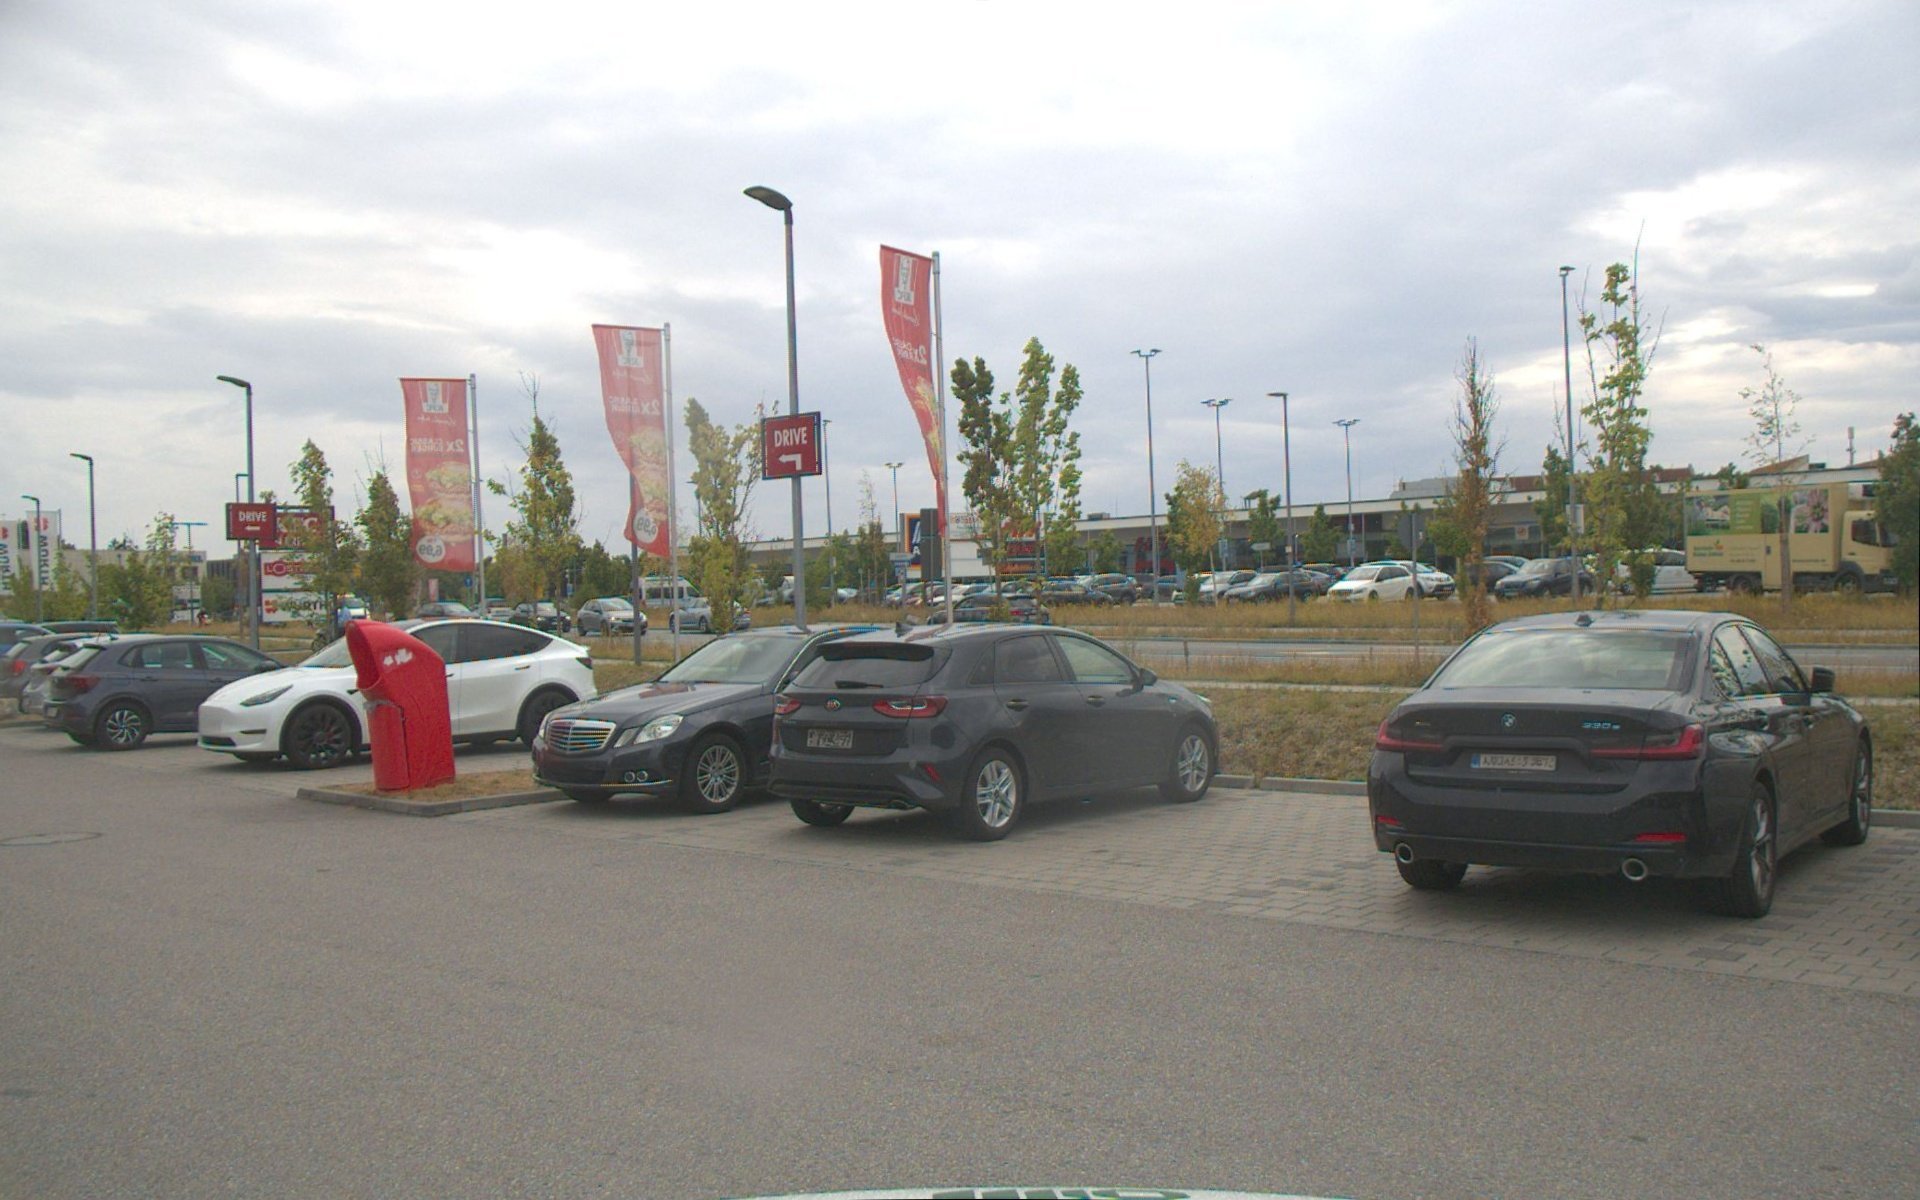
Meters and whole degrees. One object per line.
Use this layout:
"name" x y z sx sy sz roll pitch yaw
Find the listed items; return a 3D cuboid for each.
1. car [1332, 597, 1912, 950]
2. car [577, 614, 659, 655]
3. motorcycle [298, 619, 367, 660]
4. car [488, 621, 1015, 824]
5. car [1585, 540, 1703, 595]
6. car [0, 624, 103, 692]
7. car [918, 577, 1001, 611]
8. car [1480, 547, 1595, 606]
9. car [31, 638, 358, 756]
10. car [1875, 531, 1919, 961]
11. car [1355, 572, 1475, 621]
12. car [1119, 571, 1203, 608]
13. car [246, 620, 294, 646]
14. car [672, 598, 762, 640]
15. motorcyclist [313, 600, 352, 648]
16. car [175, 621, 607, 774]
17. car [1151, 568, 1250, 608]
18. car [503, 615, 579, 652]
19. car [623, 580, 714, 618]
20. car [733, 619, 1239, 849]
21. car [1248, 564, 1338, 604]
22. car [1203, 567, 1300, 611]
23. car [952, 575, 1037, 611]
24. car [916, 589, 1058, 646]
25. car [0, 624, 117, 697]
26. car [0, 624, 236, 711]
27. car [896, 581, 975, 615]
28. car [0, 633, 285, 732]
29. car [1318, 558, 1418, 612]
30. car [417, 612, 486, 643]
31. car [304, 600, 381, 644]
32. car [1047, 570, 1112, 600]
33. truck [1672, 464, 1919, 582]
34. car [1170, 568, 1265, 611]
"car" 3.959 0.756 9.376 1.909 1.492 4.496 -1 -1 37
"car" -13.705 1.367 66.123 1.809 1.485 3.952 -4 2 -34
"motorcycle" -20.393 1.278 53.751 1.903 1.229 0.783 -3 0 -40
"car" -1.668 0.950 14.785 1.875 1.482 4.719 -1 -1 39
"car" 25.388 -1.213 61.385 3.907 1.802 1.999 -3 1 25
"car" -23.310 1.456 40.425 4.026 1.485 1.755 -3 2 -34
"car" -0.010 -0.311 85.982 4.038 1.527 1.837 -4 2 -41
"car" 20.044 -0.827 57.322 4.285 1.802 1.902 -4 2 -42
"car" -10.490 1.266 22.805 3.778 1.437 1.711 0 -1 -44
"car" 5.861 0.583 7.921 1.953 1.743 4.353 -1 -1 37
"car" 18.425 -0.133 67.021 4.245 1.802 1.910 -2 2 43
"car" 11.038 -0.575 91.057 4.107 1.869 1.991 -2 2 39
"car" -38.966 1.867 93.335 1.455 1.360 3.111 -2 1 -44
"car" -10.002 0.770 67.787 1.780 1.579 4.800 -4 2 -32
"motorcyclist" -20.380 0.771 53.724 0.932 1.514 0.819 -2 0 -39
"car" -6.622 1.058 19.606 1.893 1.568 4.514 -2 -1 44
"car" 10.867 -0.535 74.674 4.108 1.566 1.978 -4 2 -32
"car" -18.711 1.489 73.743 1.837 1.525 4.229 -2 1 -36
"car" -19.551 -0.069 111.155 5.535 2.158 2.311 -4 2 -36
"car" 0.356 0.887 12.690 1.852 1.437 4.053 -1 -1 37
"car" 17.470 -0.834 86.842 4.107 1.869 1.991 -2 2 39
"car" 11.905 -0.460 67.401 4.021 1.566 1.745 -4 2 -42
"car" 1.743 -0.372 83.007 4.026 1.566 1.967 -5 2 -45
"car" 0.766 0.554 51.092 1.784 1.579 4.790 -4 2 -37
"car" -22.002 1.418 38.317 4.168 1.571 1.841 -2 0 -36
"car" -15.844 1.211 30.916 3.958 1.453 1.704 0 -1 -38
"car" -1.285 -0.120 88.158 4.026 1.566 1.876 -5 2 -45
"car" -13.256 1.283 26.878 3.903 1.437 1.813 0 -1 -41
"car" 15.606 -0.579 63.153 1.963 1.802 4.299 -2 2 40
"car" -24.911 1.334 80.998 1.752 1.419 4.158 -2 1 -40
"car" -32.242 1.120 86.319 1.984 2.122 5.149 -3 1 -42
"car" 8.355 -1.055 115.951 4.108 1.869 1.990 -2 2 40
"truck" 26.214 -2.276 51.199 2.971 3.251 8.395 -3 1 -16
"car" 10.832 -0.452 69.495 4.021 1.566 1.745 -4 2 -42
